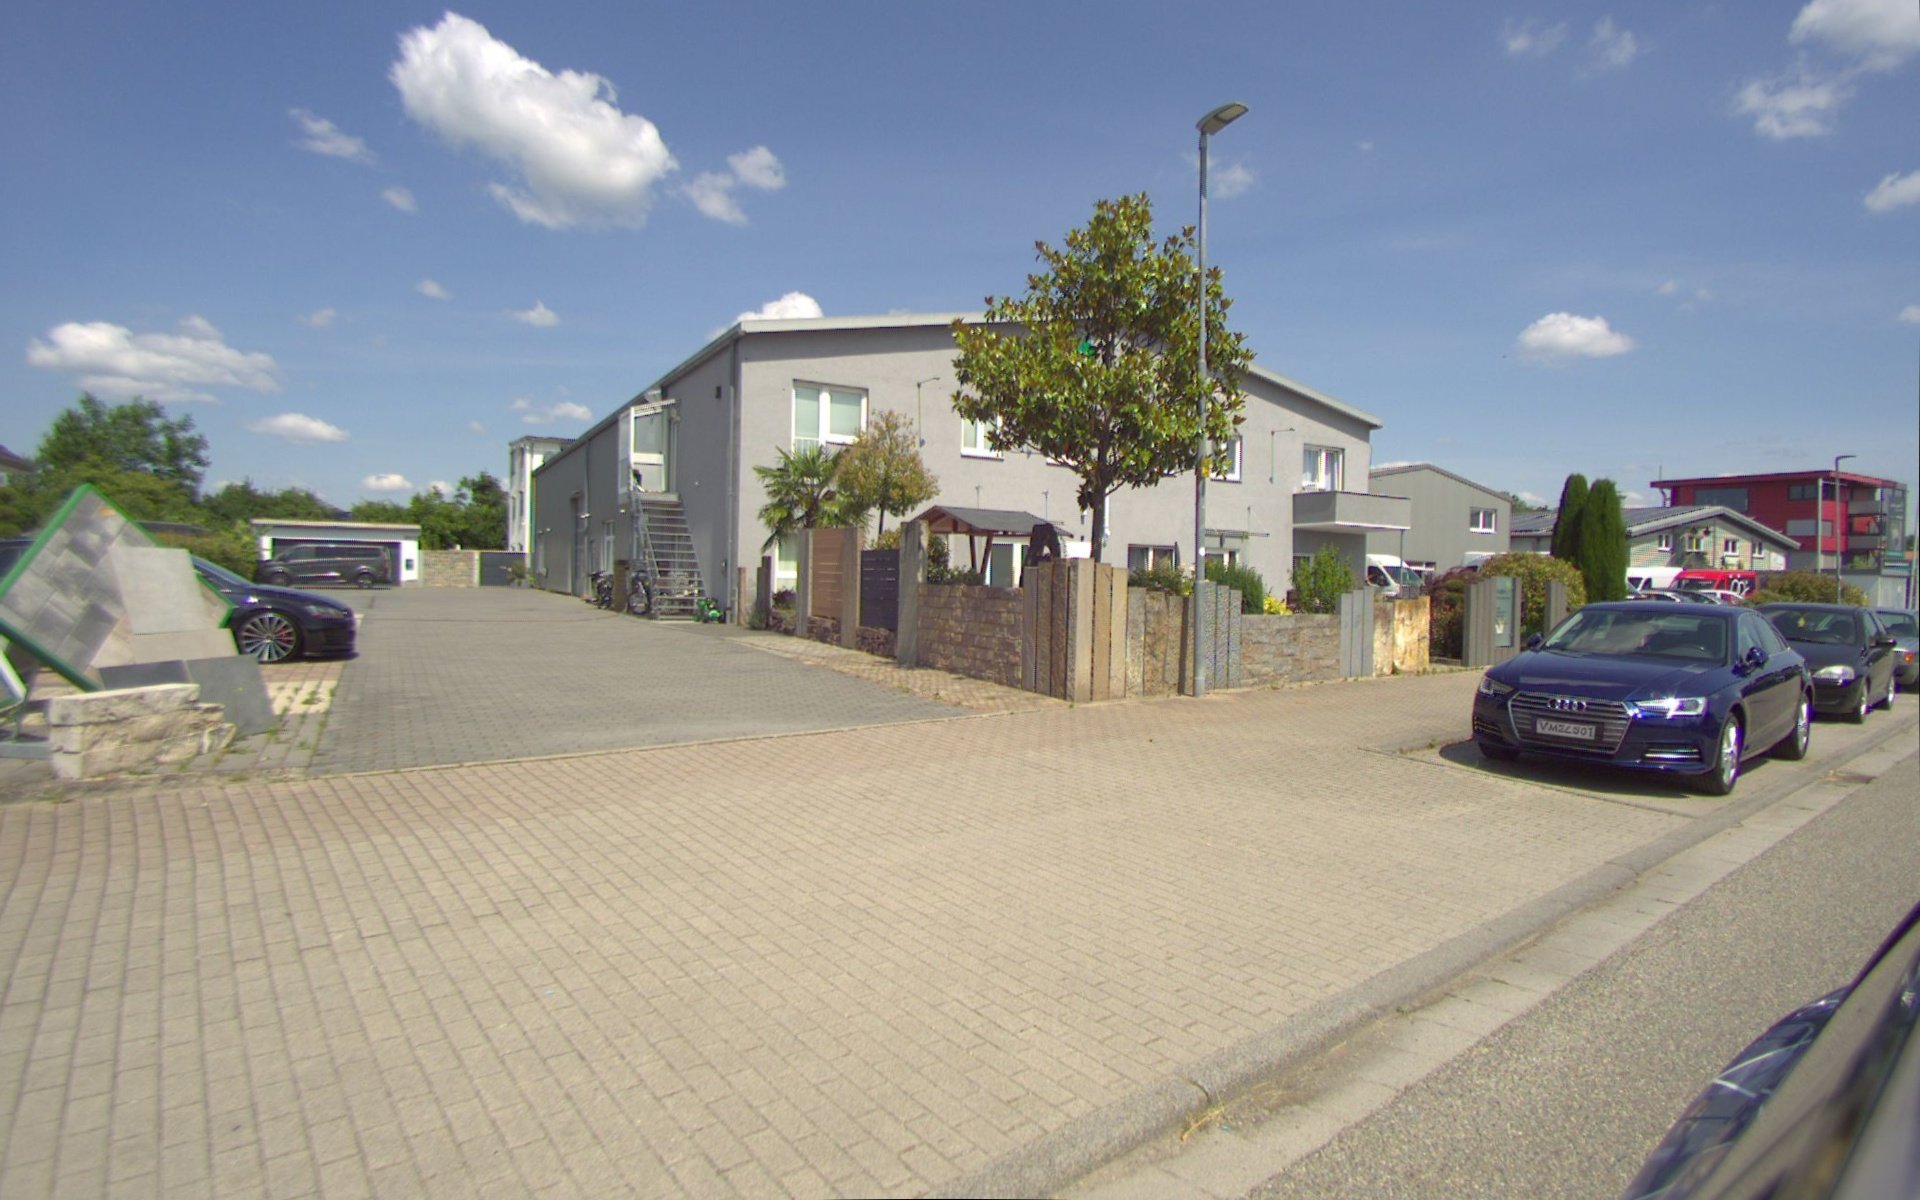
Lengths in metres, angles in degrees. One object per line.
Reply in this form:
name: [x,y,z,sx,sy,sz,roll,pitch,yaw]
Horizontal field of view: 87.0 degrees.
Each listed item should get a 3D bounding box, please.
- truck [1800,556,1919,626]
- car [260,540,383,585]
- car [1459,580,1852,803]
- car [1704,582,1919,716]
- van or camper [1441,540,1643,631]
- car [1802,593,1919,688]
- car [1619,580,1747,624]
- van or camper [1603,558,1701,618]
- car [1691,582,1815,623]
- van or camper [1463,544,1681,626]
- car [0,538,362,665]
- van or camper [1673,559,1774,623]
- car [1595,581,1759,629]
truck: [37.845,-0.378,42.339,5.668,2.722,2.388,0,2,-31]
car: [-28.877,-1.685,45.917,4.606,1.924,1.790,0,2,-31]
car: [6.491,0.621,9.222,4.635,1.490,1.766,0,3,-40]
car: [11.532,0.558,13.587,3.807,1.490,1.618,0,3,-40]
van or camper: [17.775,-0.508,31.210,1.959,2.565,5.118,1,2,-26]
car: [16.450,0.647,17.951,4.121,1.441,1.618,0,3,-40]
car: [27.993,0.042,39.284,1.683,1.505,3.703,0,2,-39]
van or camper: [33.915,-0.585,49.606,4.800,2.802,2.101,1,2,-31]
car: [32.425,0.081,41.449,1.683,1.505,3.703,0,2,-39]
van or camper: [20.013,-0.567,33.443,2.091,2.467,5.850,1,2,-29]
car: [-9.469,-0.006,12.091,3.920,1.340,1.791,1,2,-29]
van or camper: [35.314,-0.425,46.770,4.800,2.802,2.043,1,2,-31]
car: [26.110,0.147,37.000,1.683,1.505,4.606,0,2,-39]
